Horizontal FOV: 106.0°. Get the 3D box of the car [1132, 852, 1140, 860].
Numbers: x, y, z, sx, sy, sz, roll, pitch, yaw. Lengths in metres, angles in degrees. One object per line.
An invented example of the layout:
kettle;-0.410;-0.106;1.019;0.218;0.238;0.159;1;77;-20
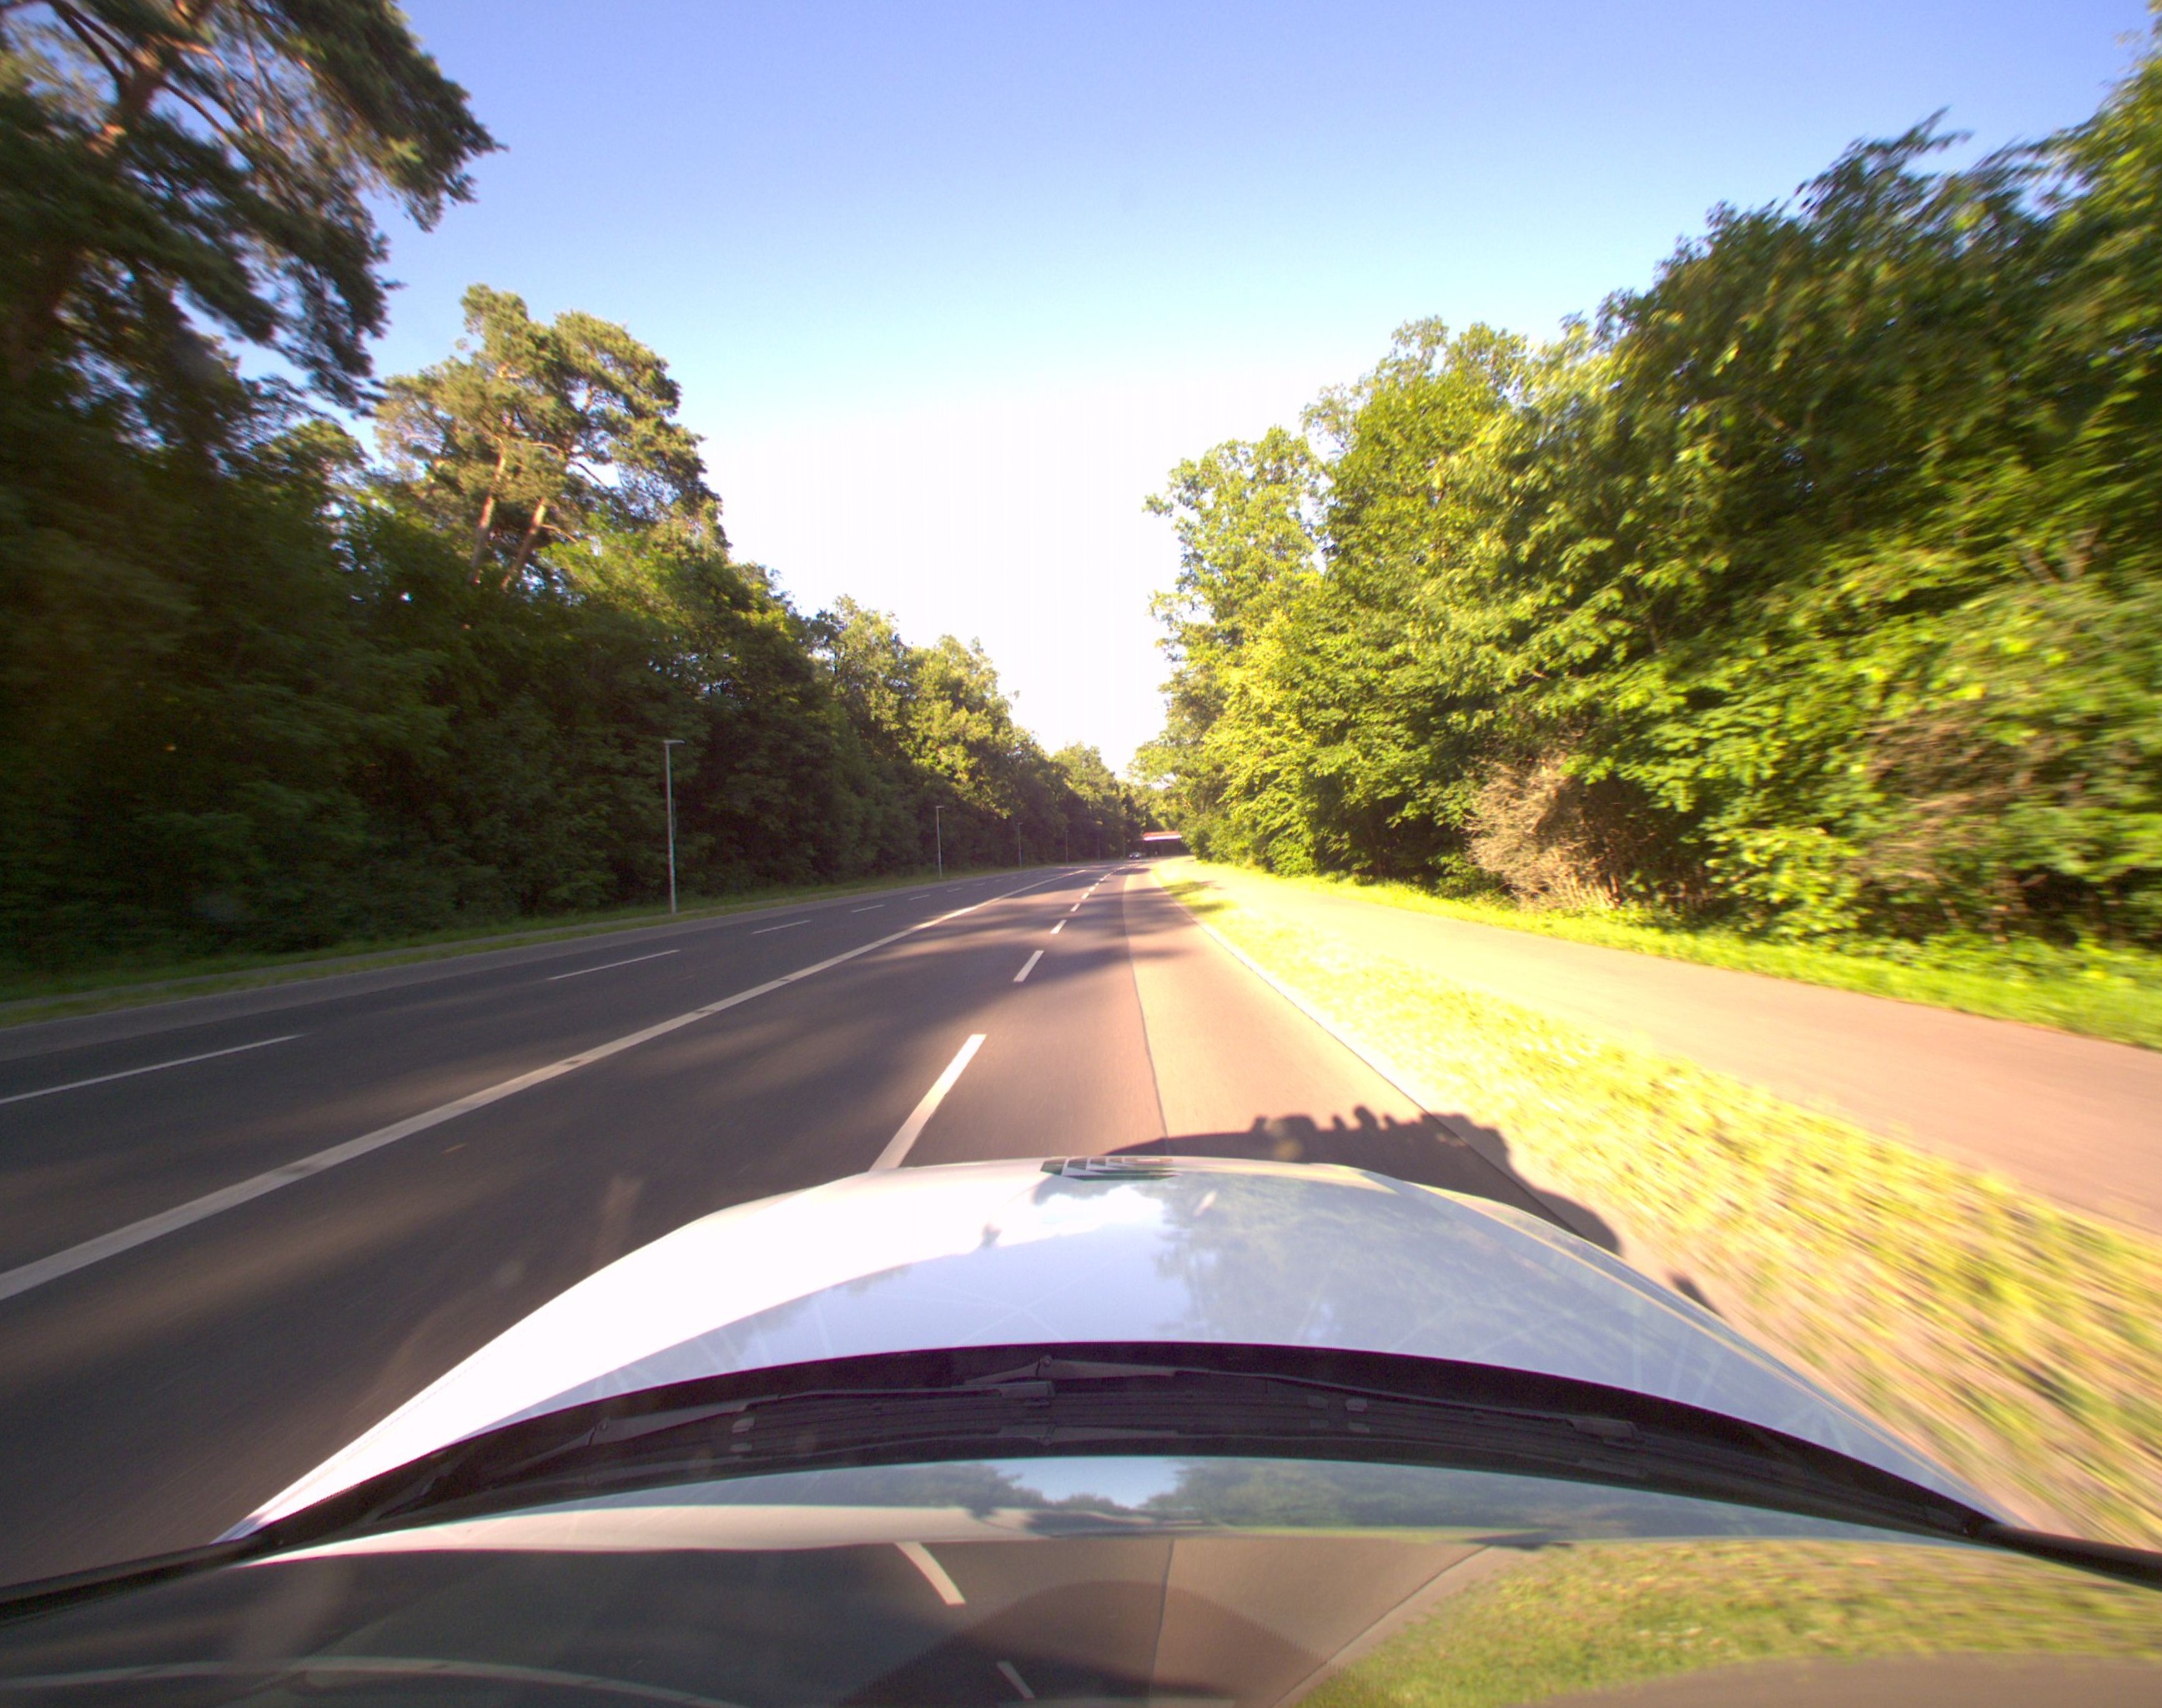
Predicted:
car;12.510;0.408;185.849;1.799;1.663;4.528;-1;0;5
